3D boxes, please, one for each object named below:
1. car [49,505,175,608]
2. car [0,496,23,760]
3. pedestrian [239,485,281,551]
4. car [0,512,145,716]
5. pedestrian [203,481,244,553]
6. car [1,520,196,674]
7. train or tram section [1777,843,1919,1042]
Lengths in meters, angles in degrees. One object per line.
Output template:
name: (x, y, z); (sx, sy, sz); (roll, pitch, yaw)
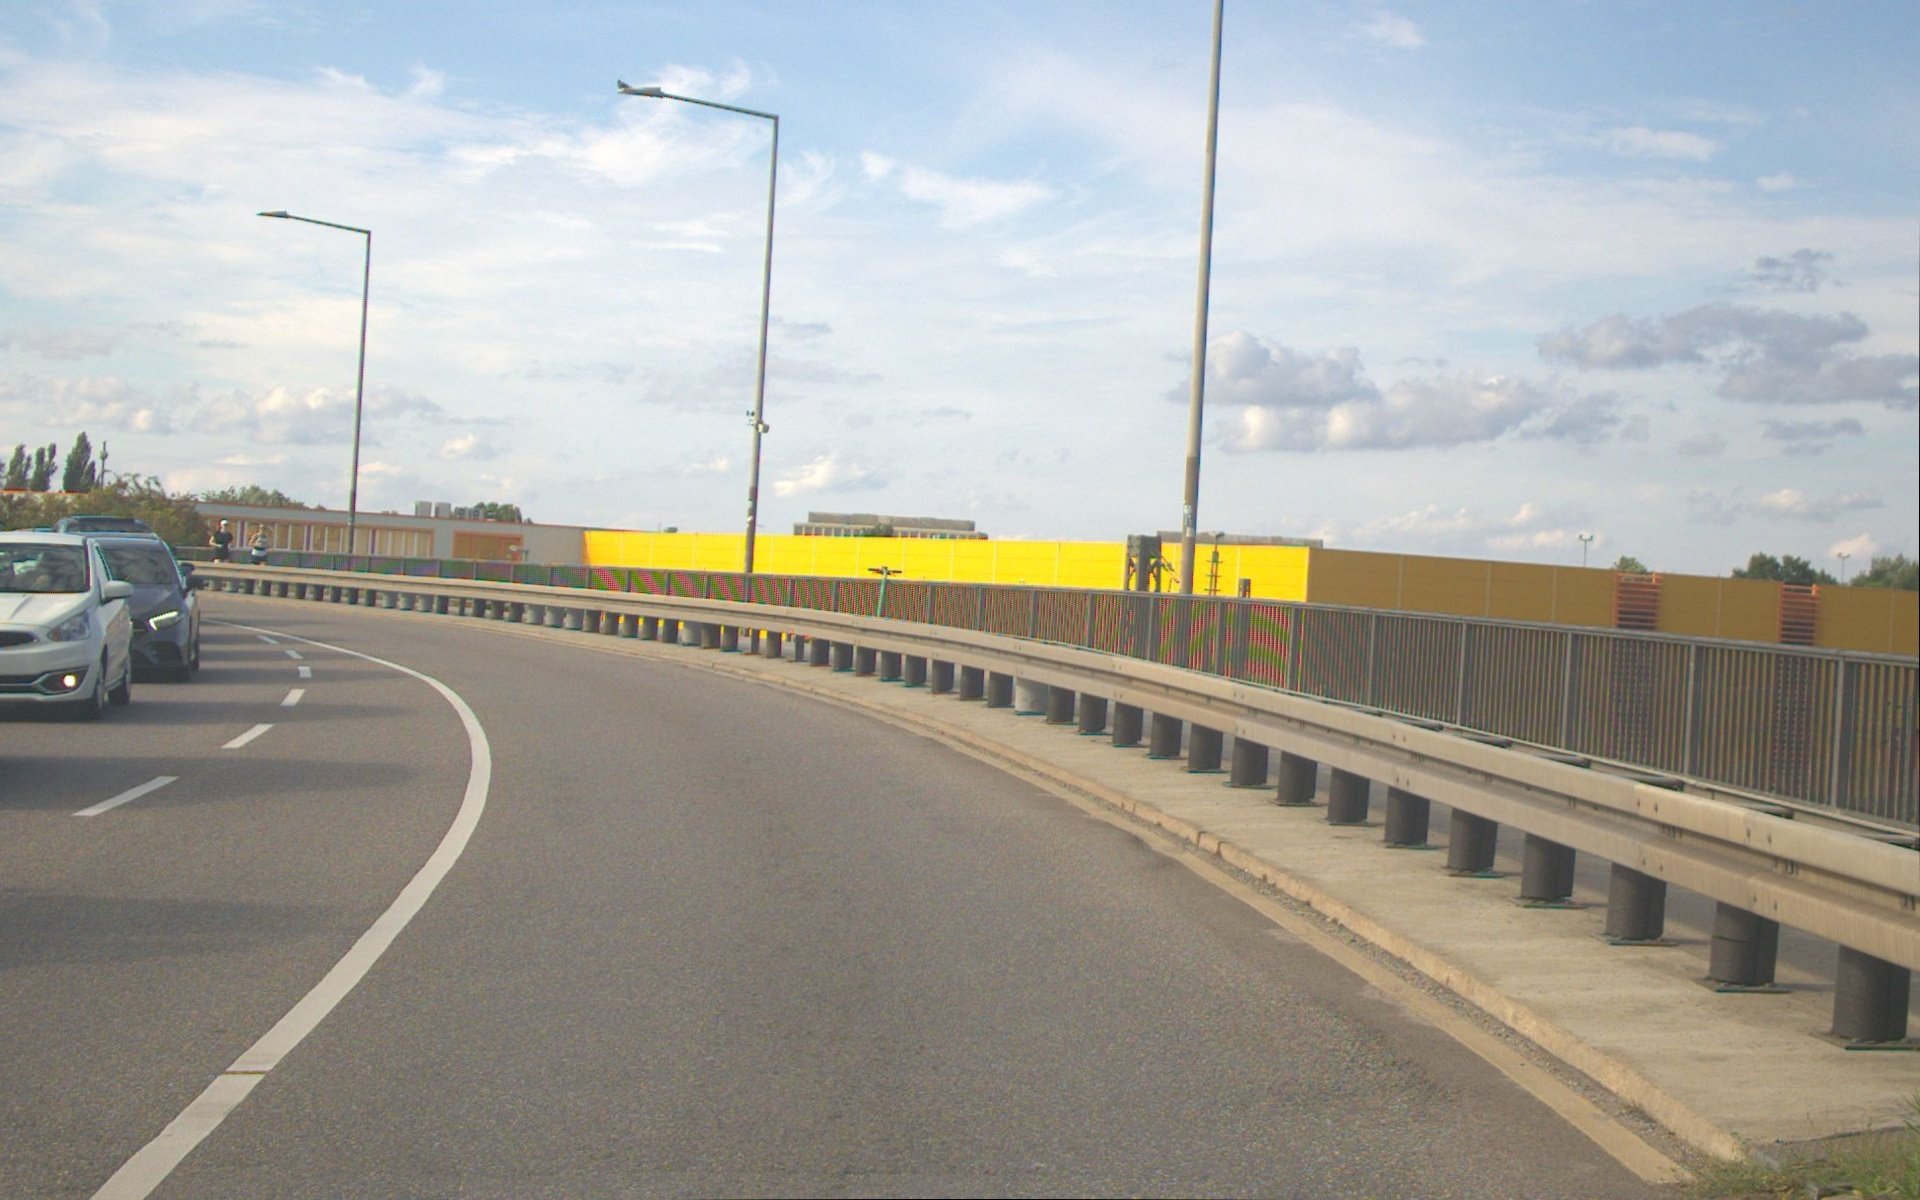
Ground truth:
car: (-14.504, -0.769, 58.634); (1.829, 1.666, 4.868); (1, 1, -17)
car: (-6.782, 0.198, 20.056); (1.869, 1.660, 4.631); (1, 1, -7)
pedestrian: (-16.561, -1.941, 81.331); (0.676, 1.538, 0.961); (1, 1, -29)
car: (-7.618, 0.057, 28.091); (1.682, 1.540, 3.924); (1, 1, -11)
pedestrian: (-17.320, -1.951, 80.846); (0.676, 1.656, 0.865); (1, 1, -29)
car: (-8.813, -0.075, 35.381); (1.812, 1.451, 4.326); (1, 1, -13)
train or tram section: (29.411, 8.979, 93.195); (16.693, 4.696, 3.097); (1, 1, -31)
